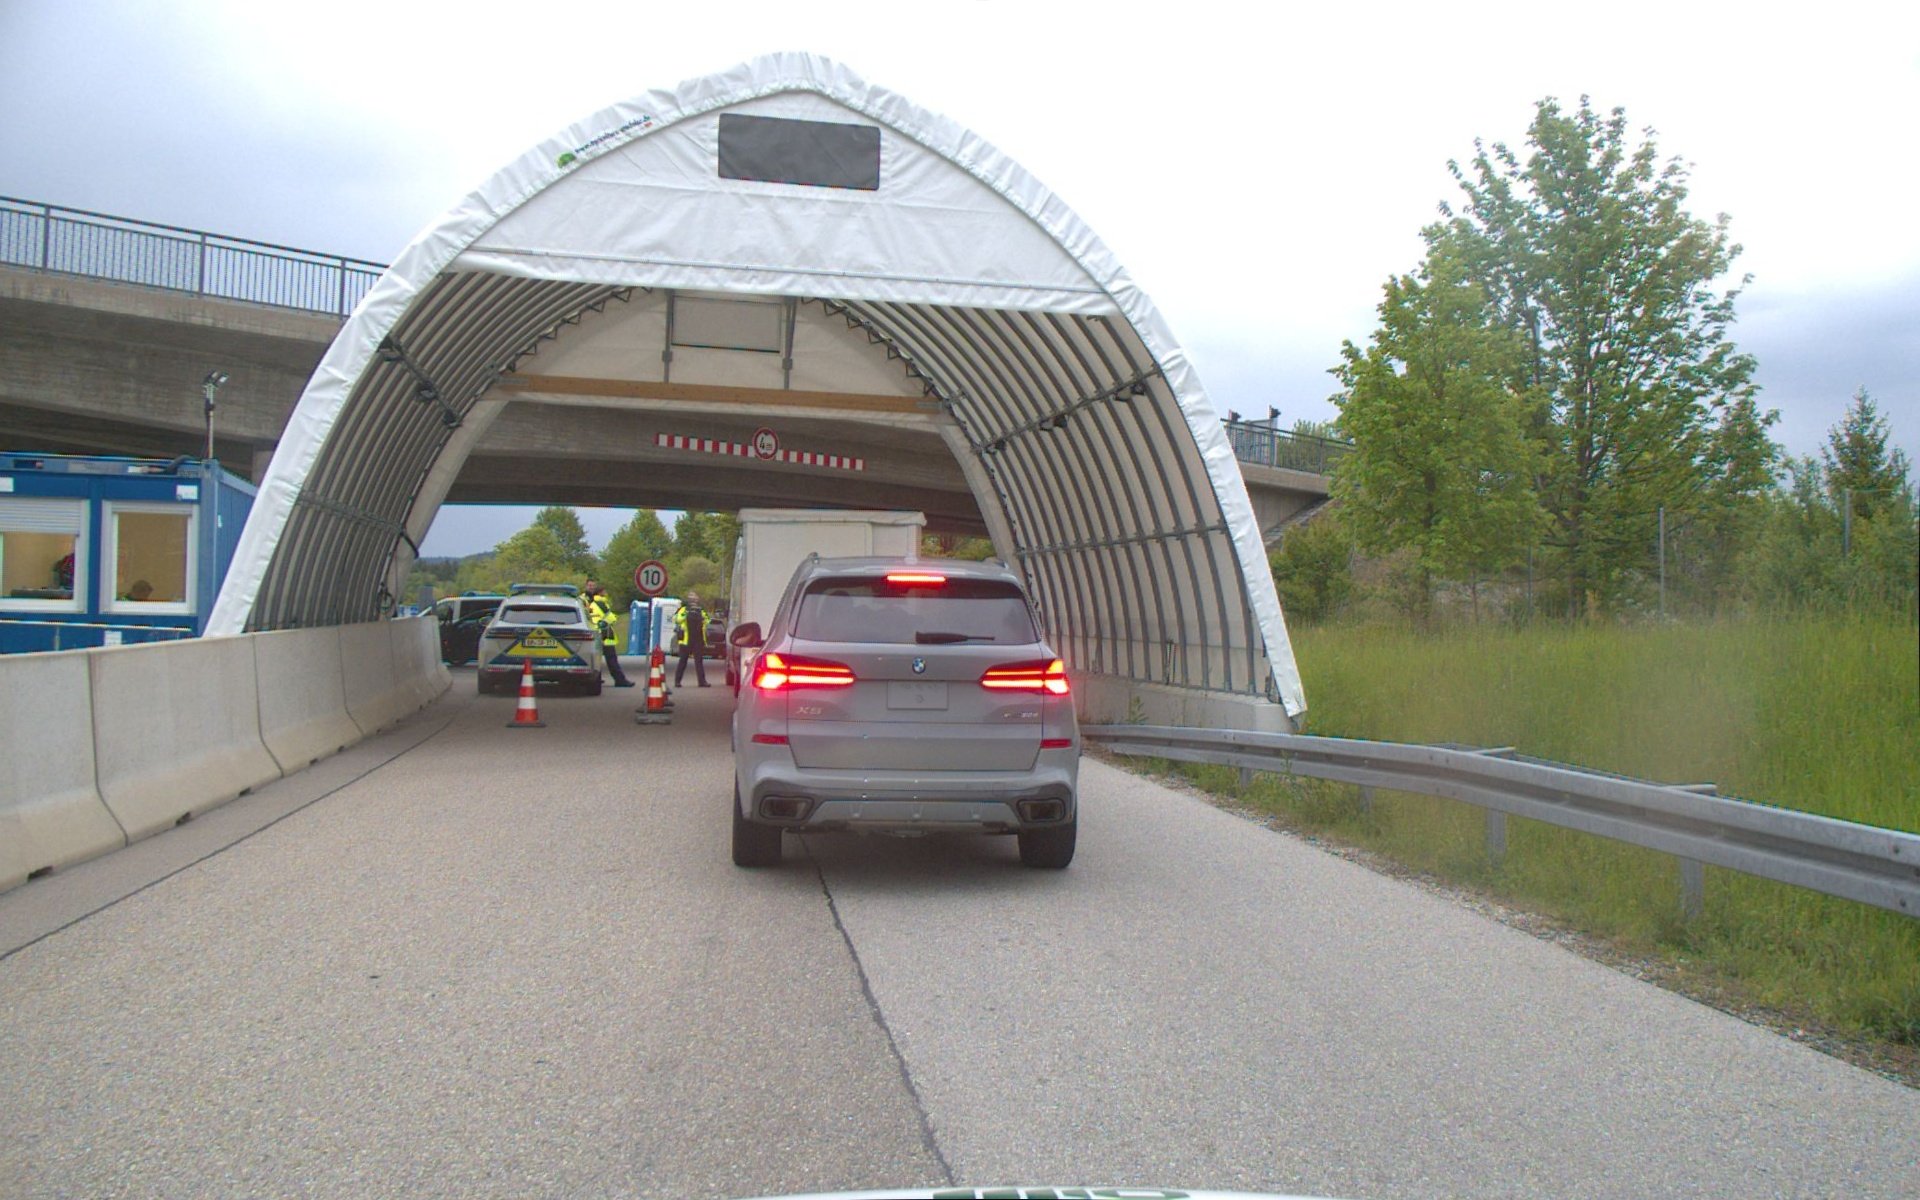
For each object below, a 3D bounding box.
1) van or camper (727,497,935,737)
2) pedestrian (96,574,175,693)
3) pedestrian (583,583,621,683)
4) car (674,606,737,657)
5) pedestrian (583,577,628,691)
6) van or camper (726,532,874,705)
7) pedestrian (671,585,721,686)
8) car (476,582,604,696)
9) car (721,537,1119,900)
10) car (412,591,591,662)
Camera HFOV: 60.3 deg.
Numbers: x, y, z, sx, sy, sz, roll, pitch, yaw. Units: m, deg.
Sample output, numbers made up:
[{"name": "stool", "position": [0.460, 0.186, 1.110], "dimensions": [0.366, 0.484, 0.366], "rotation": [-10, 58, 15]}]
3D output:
[{"name": "van or camper", "position": [-1.859, 0.205, 21.365], "dimensions": [2.189, 2.597, 6.597], "rotation": [0, 0, -9]}, {"name": "pedestrian", "position": [-9.854, 0.394, 19.781], "dimensions": [0.597, 1.397, 0.628], "rotation": [0, -1, 8]}, {"name": "pedestrian", "position": [-6.467, 0.591, 29.854], "dimensions": [0.597, 1.784, 0.665], "rotation": [0, -1, -6]}, {"name": "car", "position": [-9.115, 1.093, 59.020], "dimensions": [1.959, 1.752, 3.883], "rotation": [0, 0, -13]}, {"name": "pedestrian", "position": [-6.178, 0.592, 28.824], "dimensions": [0.736, 1.952, 0.760], "rotation": [0, -1, -15]}, {"name": "van or camper", "position": [-2.768, 0.301, 27.426], "dimensions": [2.065, 2.563, 5.538], "rotation": [0, 0, -10]}, {"name": "pedestrian", "position": [-4.683, 0.624, 29.317], "dimensions": [0.768, 1.752, 0.752], "rotation": [0, -1, -20]}, {"name": "car", "position": [-6.762, 0.590, 26.630], "dimensions": [1.846, 1.675, 3.984], "rotation": [0, 0, -15]}, {"name": "car", "position": [-0.466, 0.598, 10.318], "dimensions": [1.957, 1.796, 3.991], "rotation": [0, 0, -9]}, {"name": "car", "position": [-13.474, 0.767, 48.706], "dimensions": [4.703, 2.049, 1.842], "rotation": [0, -1, 7]}]
